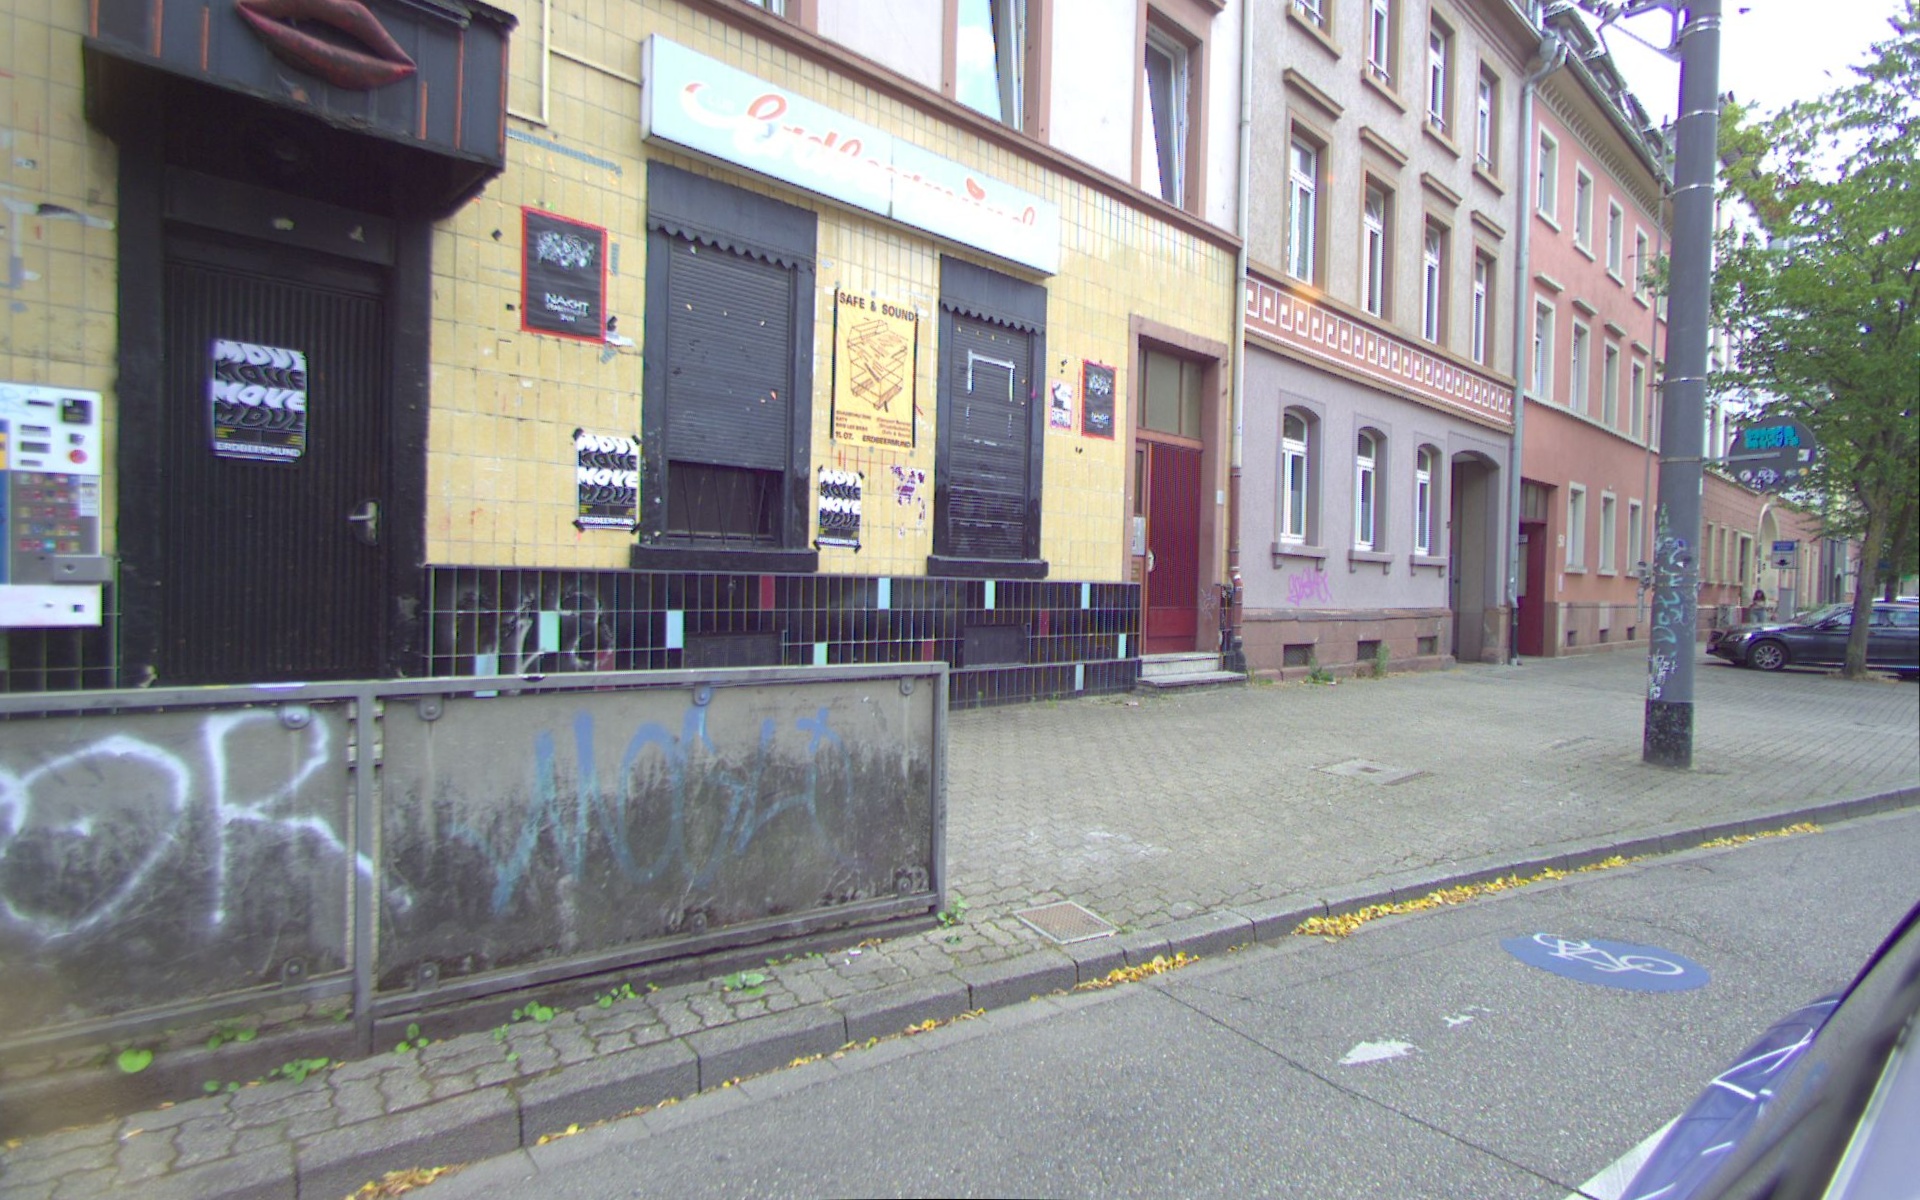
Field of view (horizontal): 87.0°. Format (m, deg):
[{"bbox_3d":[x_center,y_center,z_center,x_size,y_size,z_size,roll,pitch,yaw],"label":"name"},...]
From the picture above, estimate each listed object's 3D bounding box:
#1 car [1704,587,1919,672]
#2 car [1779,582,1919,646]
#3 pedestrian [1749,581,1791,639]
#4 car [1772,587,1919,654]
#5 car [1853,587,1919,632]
[{"bbox_3d":[18.028,0.586,20.363,4.581,1.491,1.774,3,2,25],"label":"car"},{"bbox_3d":[27.690,0.430,30.550,4.196,1.719,1.725,3,2,25],"label":"car"},{"bbox_3d":[25.071,0.314,31.326,0.910,1.708,0.732,1,4,-42],"label":"pedestrian"},{"bbox_3d":[23.138,0.525,25.083,4.301,1.498,1.774,3,2,25],"label":"car"},{"bbox_3d":[39.111,0.454,40.506,4.581,1.719,1.901,3,2,25],"label":"car"}]
